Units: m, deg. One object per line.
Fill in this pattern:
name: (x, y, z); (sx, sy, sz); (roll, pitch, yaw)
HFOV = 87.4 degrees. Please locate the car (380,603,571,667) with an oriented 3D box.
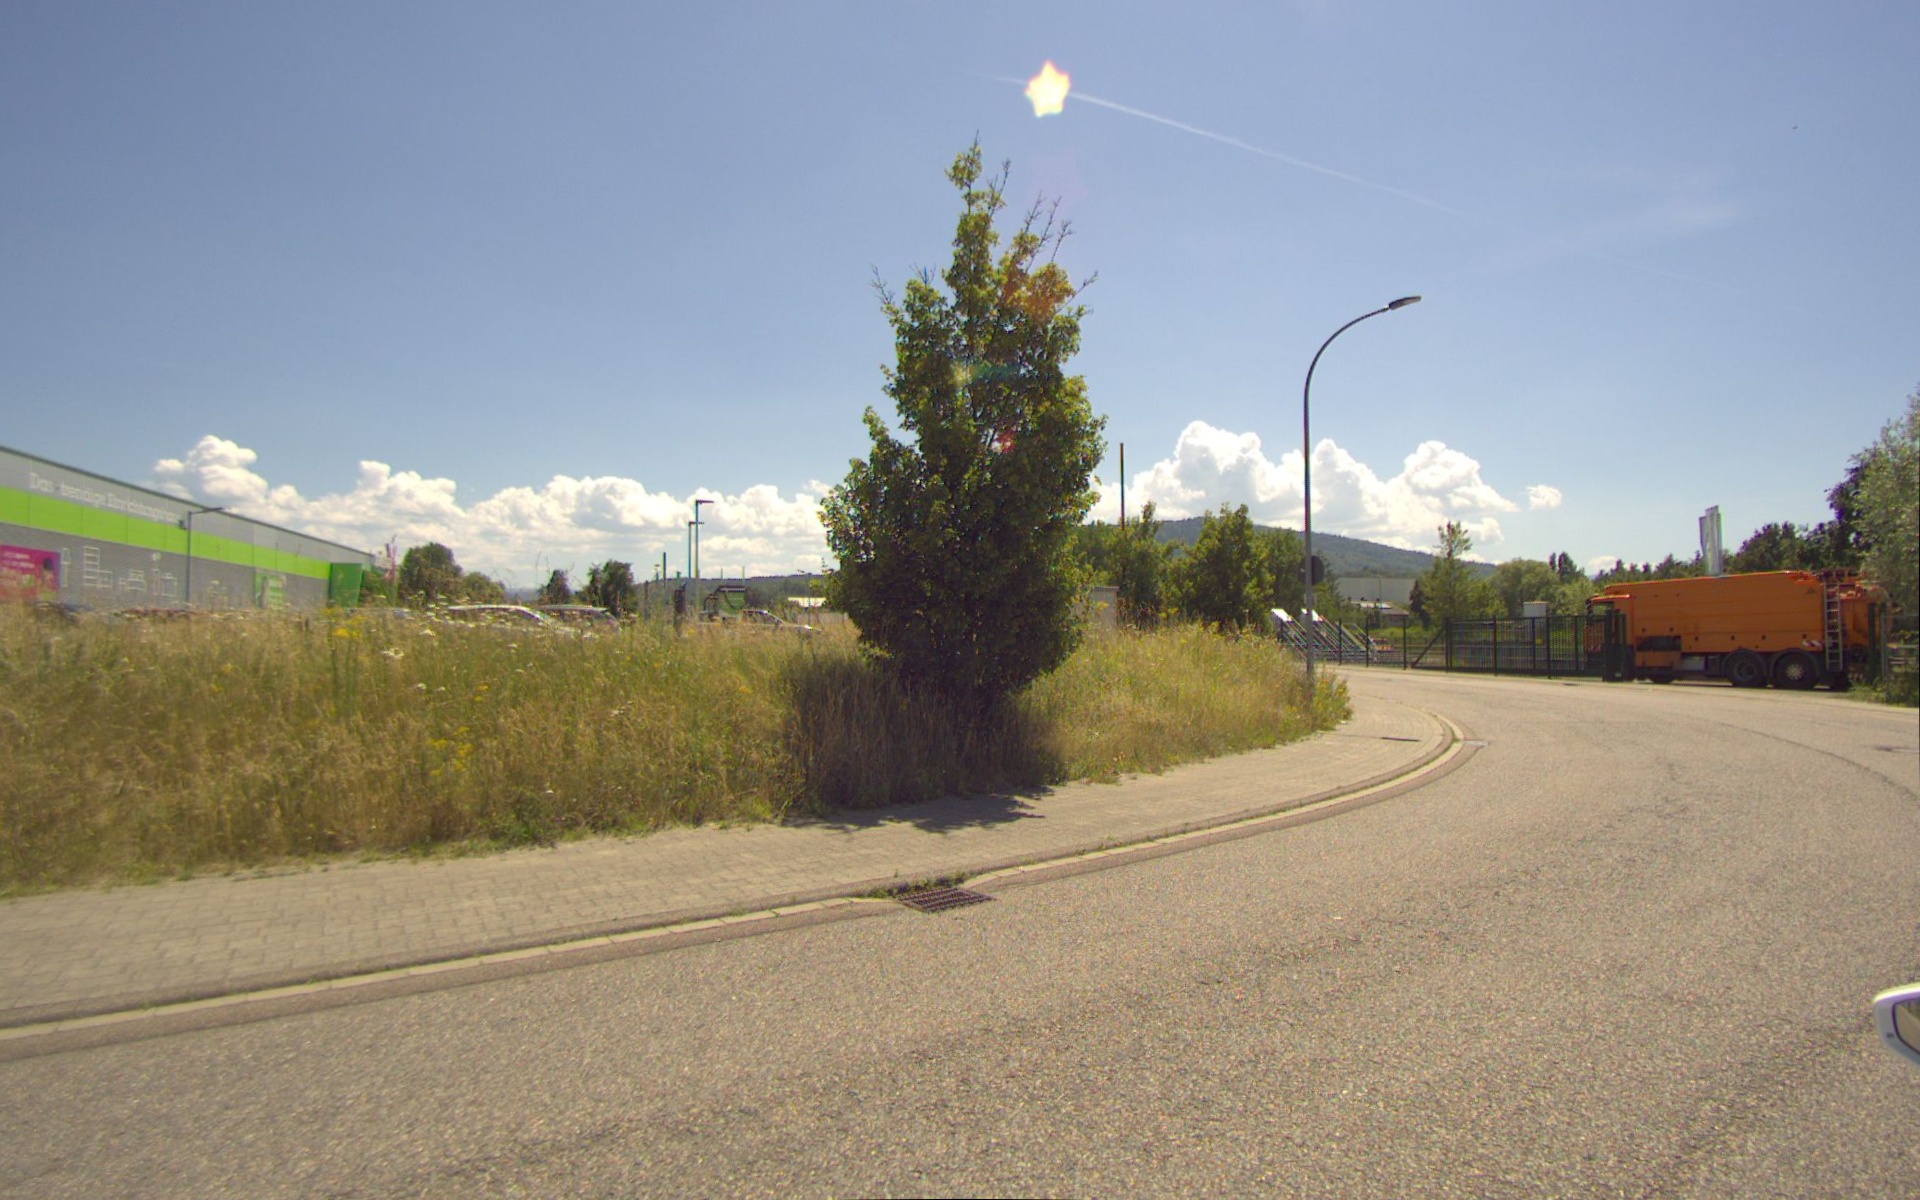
car: (-11.522, 0.819, 24.212); (3.939, 1.431, 1.991); (0, -1, -20)

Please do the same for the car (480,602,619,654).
car: (-12.868, 0.864, 31.760); (3.939, 1.565, 1.991); (0, -1, -20)

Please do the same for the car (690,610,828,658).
car: (-7.409, 1.234, 36.948); (4.765, 1.680, 1.991); (0, -1, -20)

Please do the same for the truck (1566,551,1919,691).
truck: (24.964, 0.756, 32.401); (4.102, 3.856, 8.572); (0, -2, -21)
